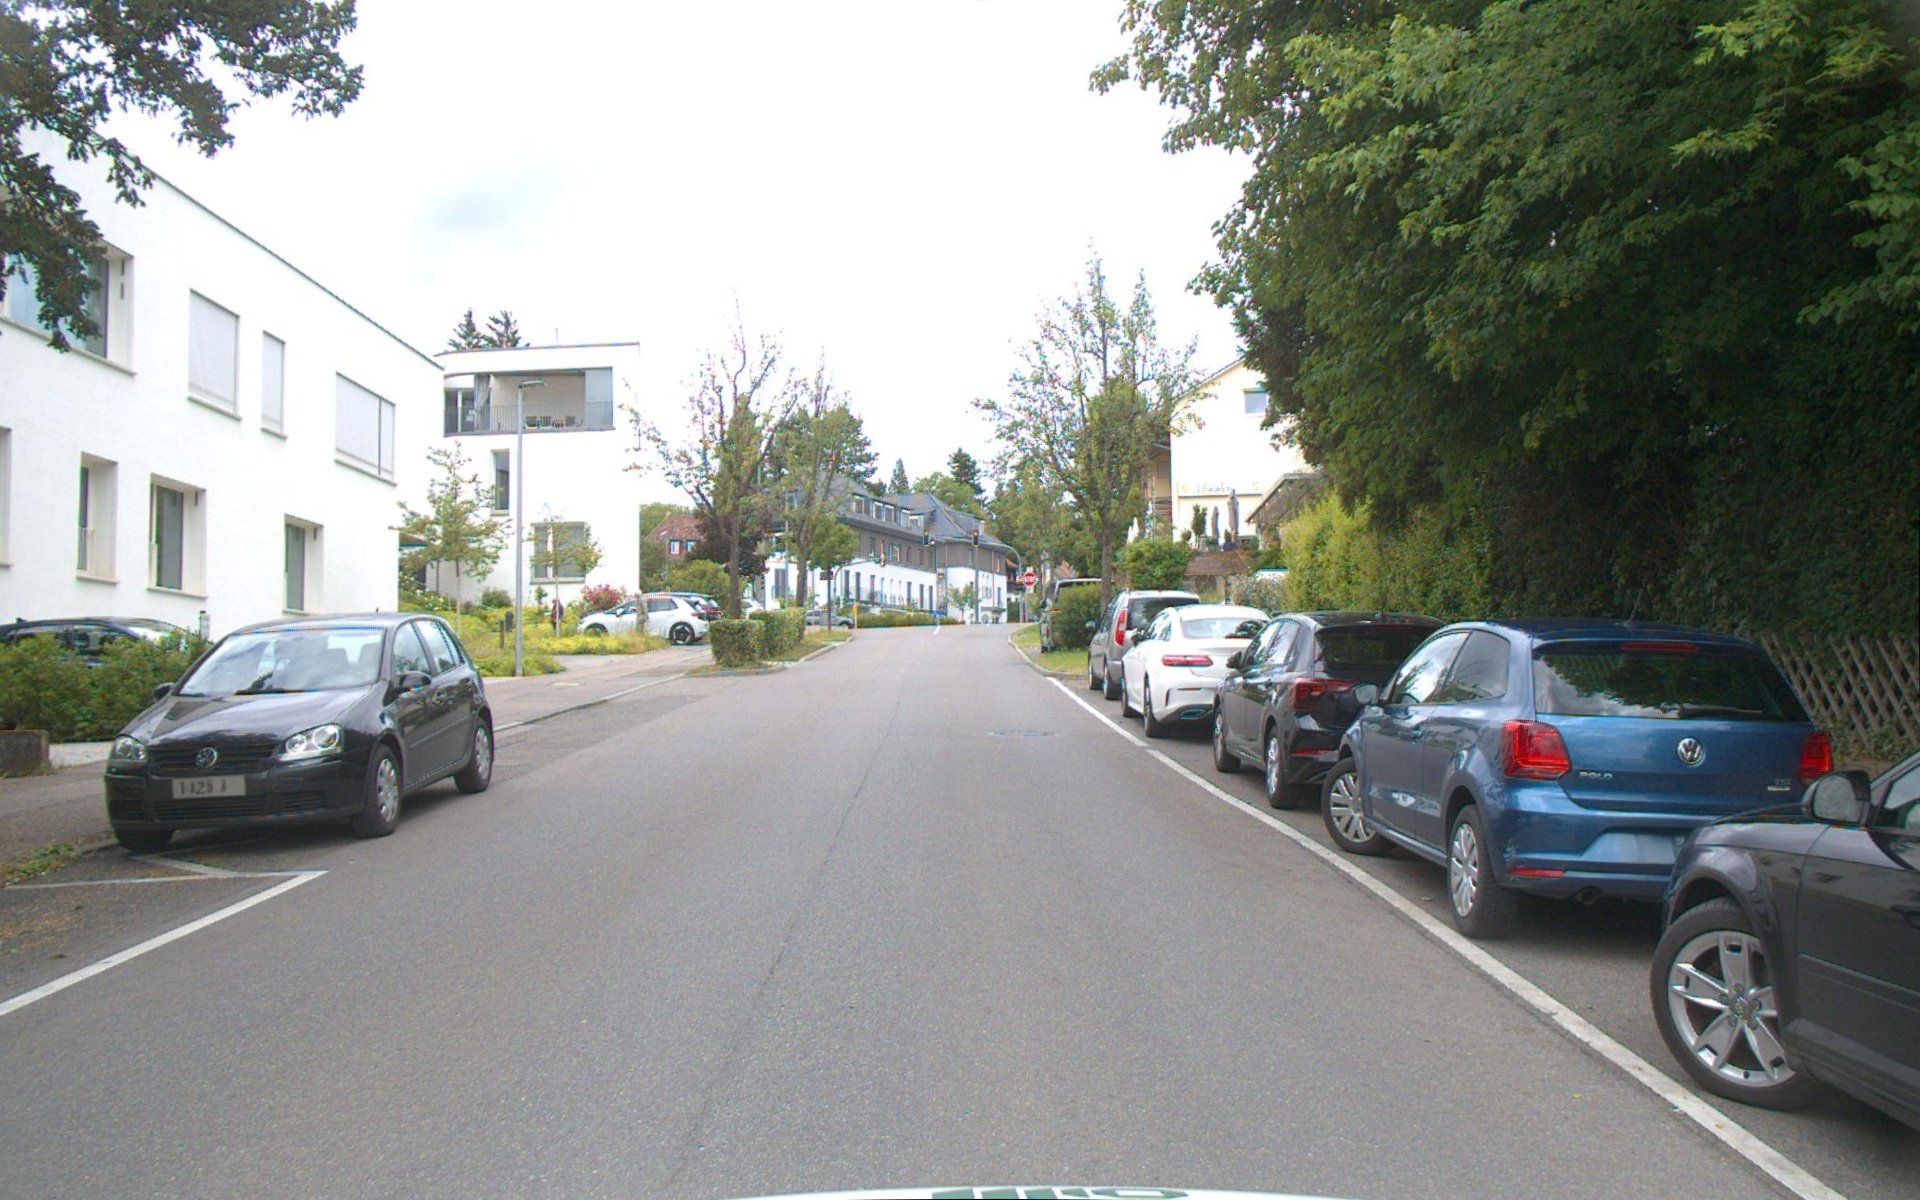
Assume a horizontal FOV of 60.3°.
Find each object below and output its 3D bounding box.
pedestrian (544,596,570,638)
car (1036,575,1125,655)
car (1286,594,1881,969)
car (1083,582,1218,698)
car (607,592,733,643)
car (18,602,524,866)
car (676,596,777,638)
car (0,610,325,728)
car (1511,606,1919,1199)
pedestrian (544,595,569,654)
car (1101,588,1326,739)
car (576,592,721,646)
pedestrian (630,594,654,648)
[{"bbox_3d":[-12.465,0.520,51.193,0.594,1.305,0.899,0,0,0],"label":"pedestrian"},{"bbox_3d":[3.027,0.358,42.372,1.896,1.870,5.219,-1,0,0],"label":"car"},{"bbox_3d":[3.015,0.753,8.979,1.663,1.534,4.160,1,0,0],"label":"car"},{"bbox_3d":[2.915,0.587,26.006,1.681,1.661,3.928,1,0,0],"label":"car"},{"bbox_3d":[-9.807,0.595,56.191,3.905,1.682,2.009,0,0,1],"label":"car"},{"bbox_3d":[-4.701,0.795,12.156,1.813,1.495,4.682,-2,0,-1],"label":"car"},{"bbox_3d":[-10.192,0.744,72.447,4.175,1.651,2.012,-2,-1,-3],"label":"car"},{"bbox_3d":[-10.414,0.858,21.408,3.721,1.378,1.739,-1,0,-6],"label":"car"},{"bbox_3d":[3.099,0.773,4.005,1.774,1.478,4.374,-2,0,-4],"label":"car"},{"bbox_3d":[-11.732,0.705,48.121,0.576,1.711,0.519,-1,0,1],"label":"pedestrian"},{"bbox_3d":[2.861,0.653,19.759,1.952,1.517,5.005,-2,0,1],"label":"car"},{"bbox_3d":[-10.046,0.596,53.608,4.298,1.594,2.066,-2,0,-2],"label":"car"},{"bbox_3d":[-9.883,0.650,51.352,0.581,1.669,0.565,-2,0,1],"label":"pedestrian"}]
